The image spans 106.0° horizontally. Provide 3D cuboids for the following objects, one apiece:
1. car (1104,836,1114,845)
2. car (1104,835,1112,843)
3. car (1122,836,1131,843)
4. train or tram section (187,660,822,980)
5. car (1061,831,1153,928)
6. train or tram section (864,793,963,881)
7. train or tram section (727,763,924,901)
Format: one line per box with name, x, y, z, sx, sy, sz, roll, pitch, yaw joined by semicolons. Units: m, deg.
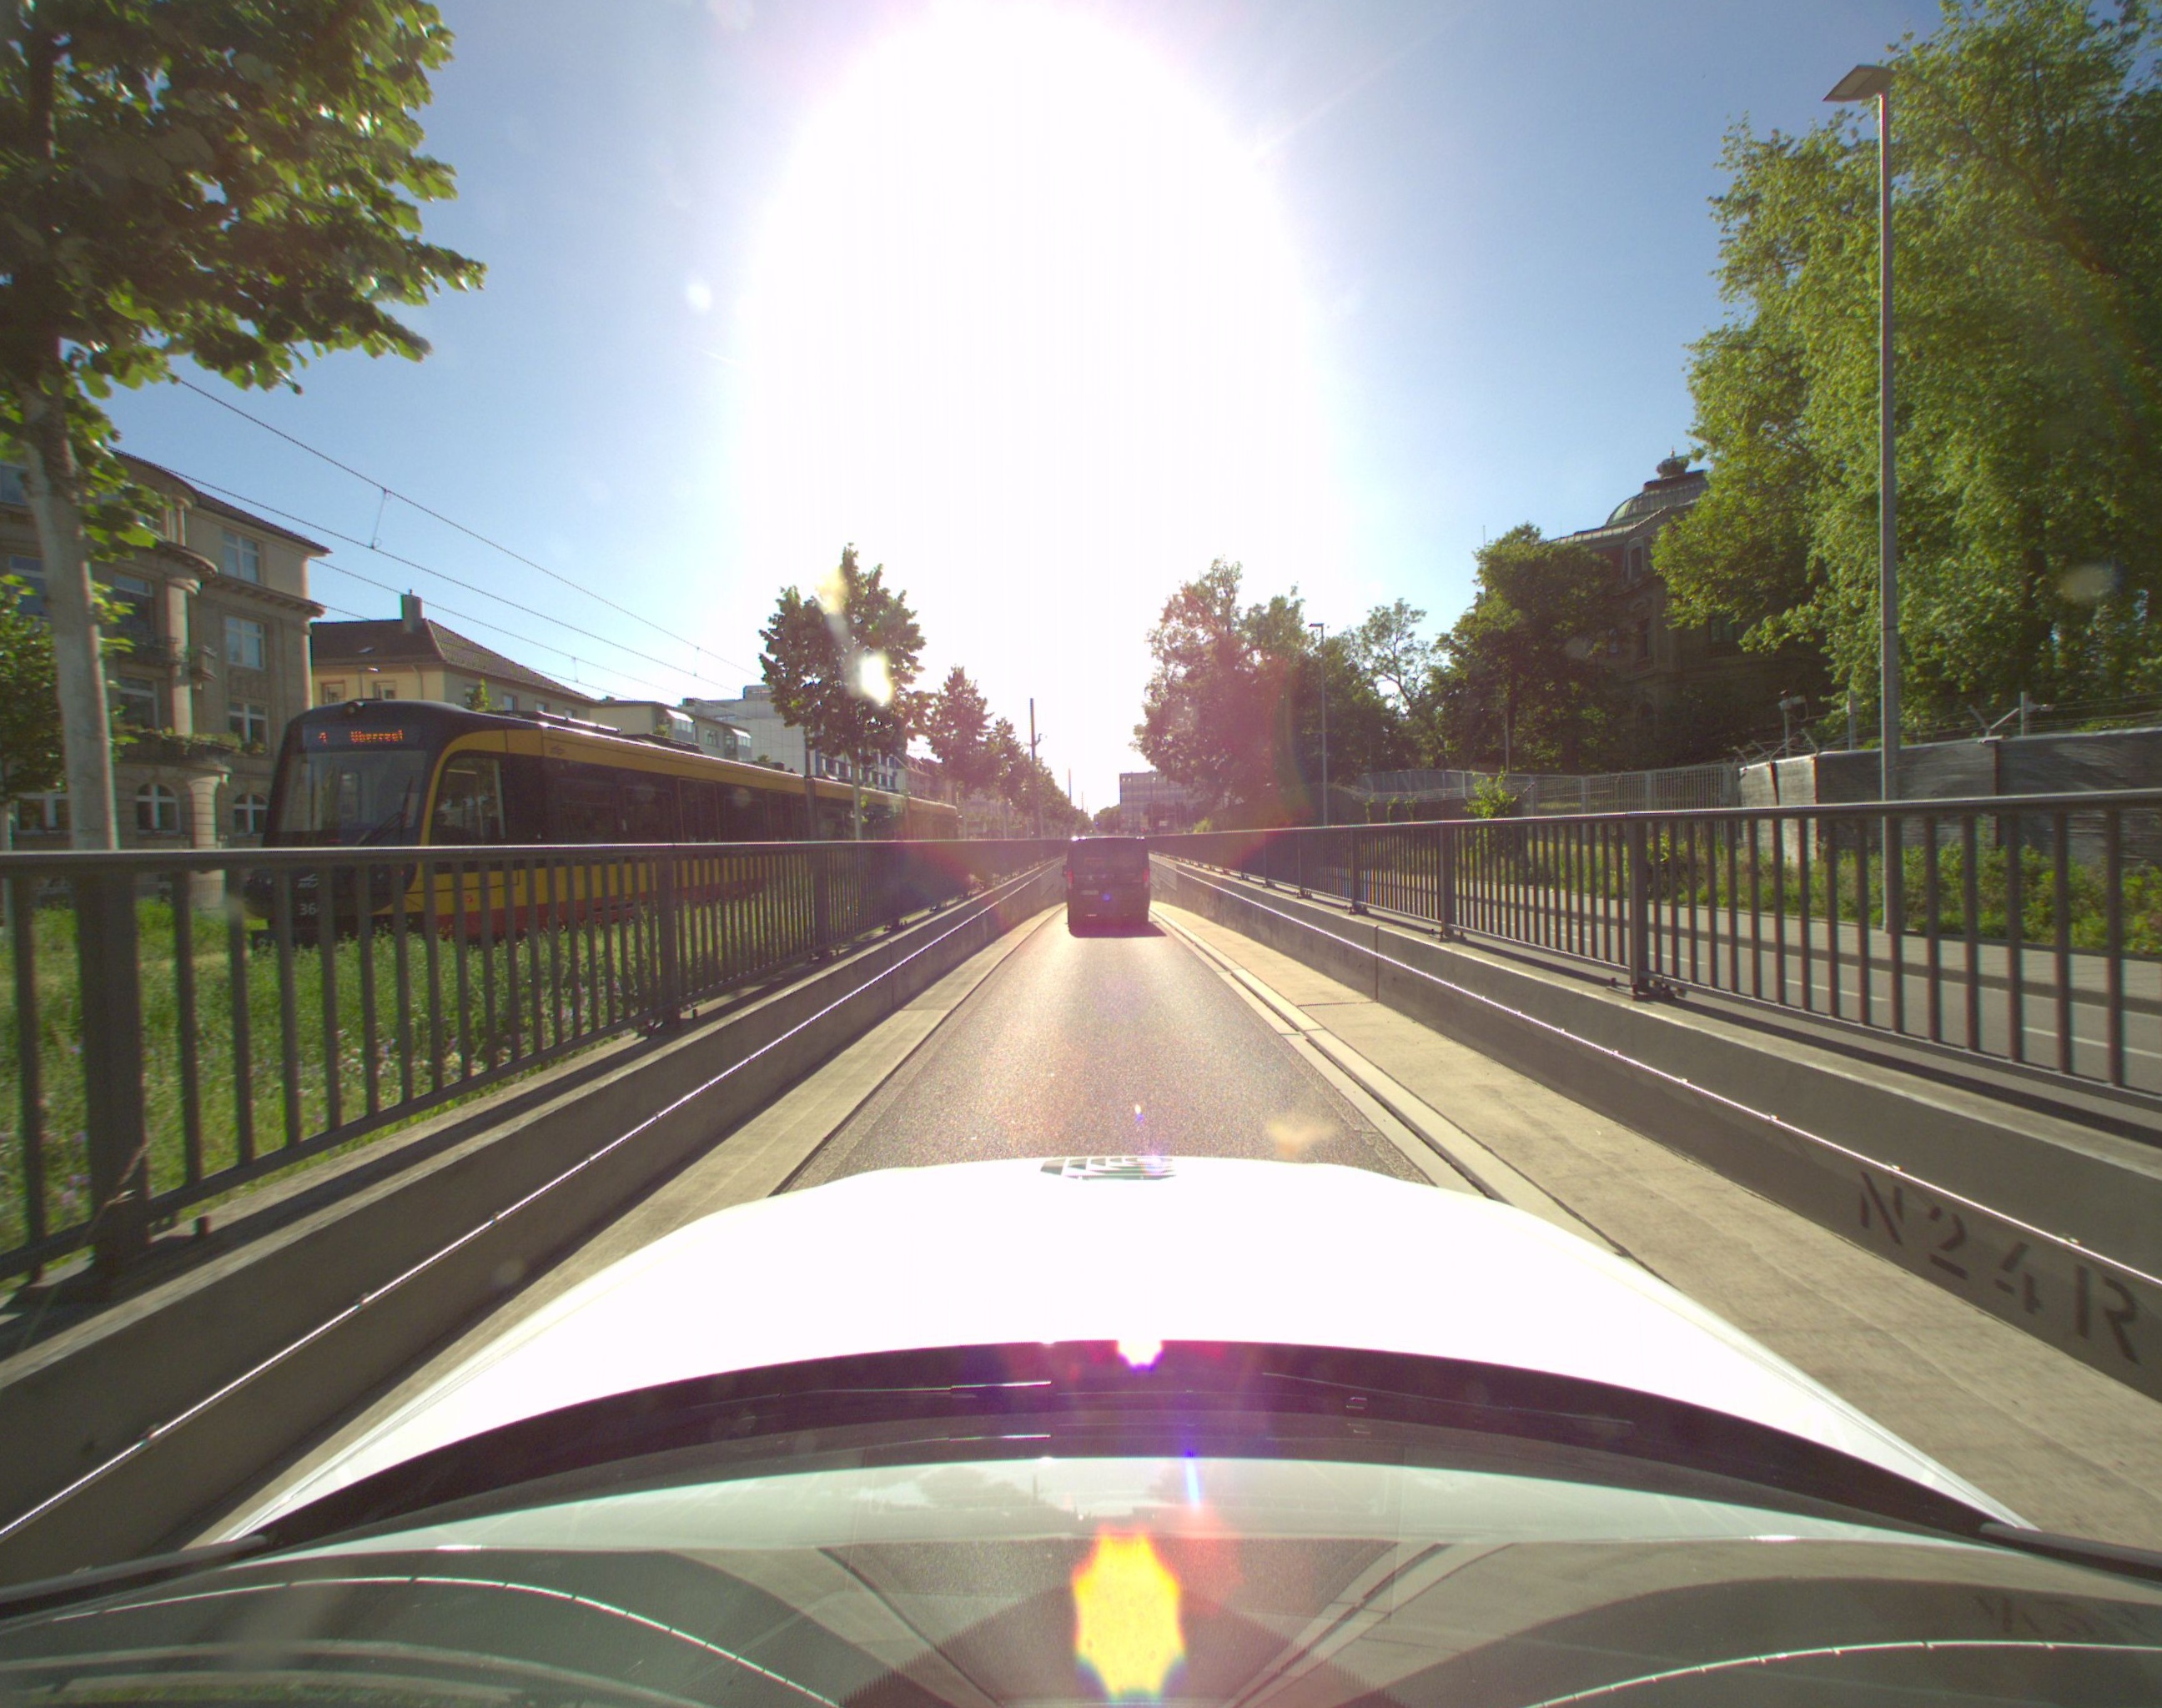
car;5.134;-2.452;150.185;1.734;1.562;4.000;-2;1;0
car;5.916;-3.309;179.017;1.734;1.562;4.000;-2;1;0
car;10.097;-3.259;181.870;1.734;1.421;4.000;-2;1;0
train or tram section;-8.732;-0.440;16.006;2.601;3.656;13.348;0;0;2
car;0.717;0.664;21.618;2.150;2.266;4.638;-1;-2;2
train or tram section;-8.062;-0.786;40.689;2.603;3.854;9.974;0;0;1
train or tram section;-8.353;-0.659;29.128;2.601;3.821;13.095;0;0;1
